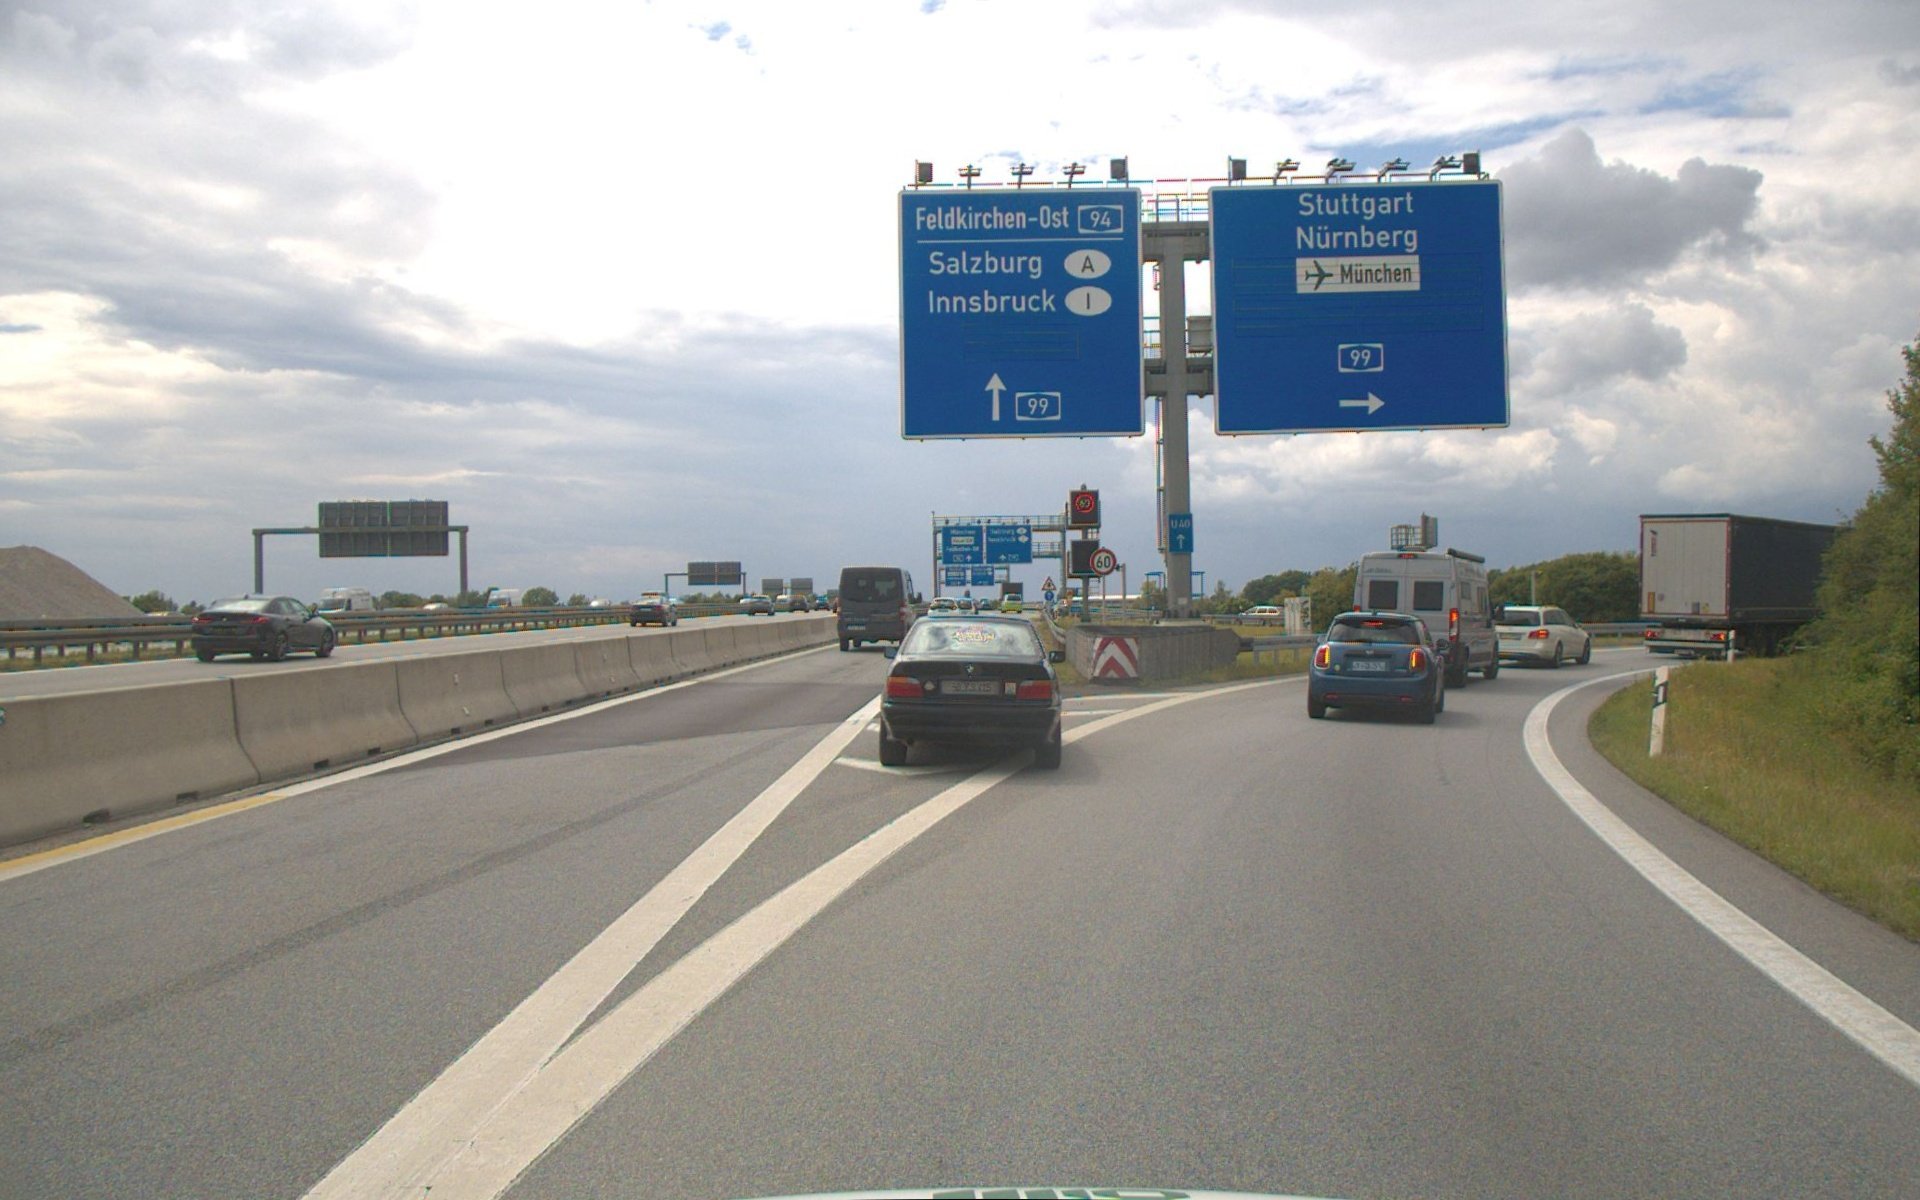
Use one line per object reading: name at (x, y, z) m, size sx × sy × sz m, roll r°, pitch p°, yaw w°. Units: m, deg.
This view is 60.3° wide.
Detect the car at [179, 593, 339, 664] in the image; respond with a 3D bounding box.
car at (-15.497, 0.597, 36.828) m, size 1.736 × 1.475 × 4.383 m, roll 0°, pitch 0°, yaw -1°

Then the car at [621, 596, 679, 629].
car at (-15.089, 0.605, 80.678) m, size 2.017 × 1.554 × 4.567 m, roll 0°, pitch 0°, yaw -1°

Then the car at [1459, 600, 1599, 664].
car at (14.516, 0.762, 42.050) m, size 2.168 × 1.527 × 4.771 m, roll 0°, pitch 0°, yaw 35°

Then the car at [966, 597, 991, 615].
car at (1.593, 0.517, 140.880) m, size 1.951 × 1.494 × 4.002 m, roll 0°, pitch 0°, yaw 4°

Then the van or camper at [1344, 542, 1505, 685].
van or camper at (9.554, 0.241, 33.623) m, size 2.248 × 2.613 × 6.157 m, roll 0°, pitch 0°, yaw 24°

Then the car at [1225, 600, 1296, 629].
car at (19.127, 0.931, 105.467) m, size 1.983 × 1.803 × 4.183 m, roll 0°, pitch 0°, yaw -41°

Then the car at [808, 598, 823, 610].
car at (-17.170, 0.427, 196.741) m, size 1.521 × 1.400 × 4.000 m, roll 0°, pitch 0°, yaw 0°

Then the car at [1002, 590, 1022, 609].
car at (5.461, -0.055, 173.252) m, size 1.953 × 2.049 × 3.999 m, roll 0°, pitch 0°, yaw -1°

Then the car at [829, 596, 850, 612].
car at (-11.861, 0.384, 162.788) m, size 1.737 × 1.557 × 4.000 m, roll 0°, pitch 0°, yaw 0°

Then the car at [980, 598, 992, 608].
car at (4.027, 0.442, 256.443) m, size 1.765 × 1.449 × 4.001 m, roll 0°, pitch 0°, yaw 2°

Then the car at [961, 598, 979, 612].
car at (1.079, 0.551, 179.645) m, size 1.827 × 1.449 × 4.001 m, roll 0°, pitch 0°, yaw 1°

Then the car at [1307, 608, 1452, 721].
car at (6.021, 0.852, 23.496) m, size 1.693 × 1.444 × 3.667 m, roll 1°, pitch 0°, yaw 19°

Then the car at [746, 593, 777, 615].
car at (-15.674, 0.330, 130.501) m, size 1.862 × 1.669 × 4.645 m, roll 0°, pitch 0°, yaw 0°

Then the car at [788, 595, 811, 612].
car at (-15.846, 0.333, 163.191) m, size 1.862 × 1.667 × 4.233 m, roll 1°, pitch 0°, yaw 0°

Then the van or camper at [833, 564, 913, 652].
van or camper at (-2.476, 0.205, 48.442) m, size 1.958 × 2.412 × 6.126 m, roll 0°, pitch 0°, yaw 1°

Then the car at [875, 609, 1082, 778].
car at (0.203, 0.800, 16.024) m, size 1.745 × 1.402 × 4.137 m, roll 0°, pitch 0°, yaw 1°

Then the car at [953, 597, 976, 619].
car at (0.345, 0.558, 114.935) m, size 1.552 × 1.510 × 3.535 m, roll 0°, pitch 0°, yaw 1°

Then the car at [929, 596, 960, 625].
car at (-0.824, 0.564, 89.853) m, size 1.666 × 1.534 × 3.840 m, roll 0°, pitch 0°, yaw 0°

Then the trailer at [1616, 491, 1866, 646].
trailer at (24.634, -0.853, 51.609) m, size 3.284 × 4.266 × 12.946 m, roll 0°, pitch 0°, yaw 43°

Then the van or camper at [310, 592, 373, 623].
van or camper at (-41.900, 0.503, 112.161) m, size 2.190 × 2.049 × 6.274 m, roll 0°, pitch 0°, yaw -3°
